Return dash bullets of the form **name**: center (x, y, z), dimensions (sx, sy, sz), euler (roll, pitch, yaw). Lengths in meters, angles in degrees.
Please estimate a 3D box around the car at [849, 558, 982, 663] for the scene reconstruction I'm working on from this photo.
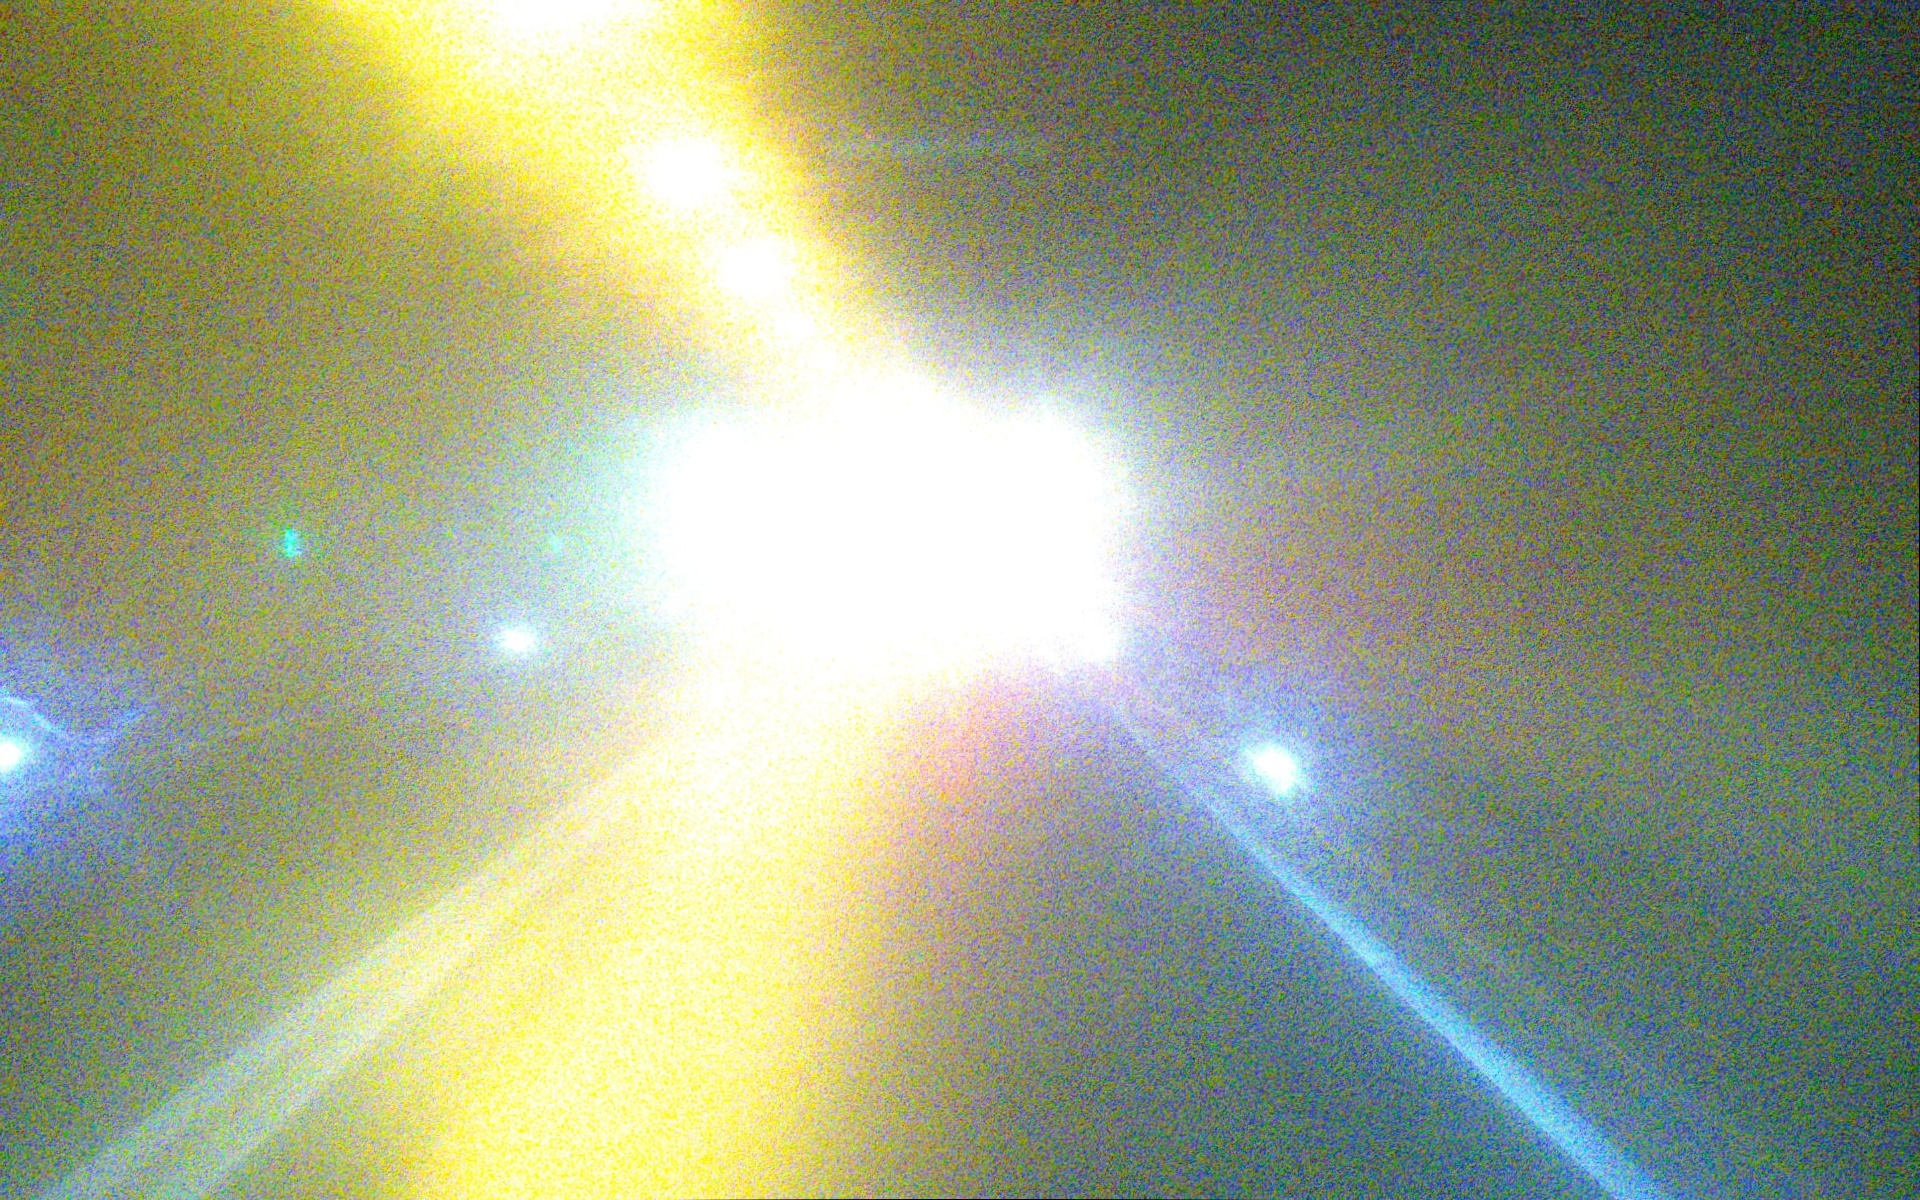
- **car**: center (-0.740, 0.151, 56.618), dimensions (2.089, 1.656, 4.000), euler (1, 0, -1)
